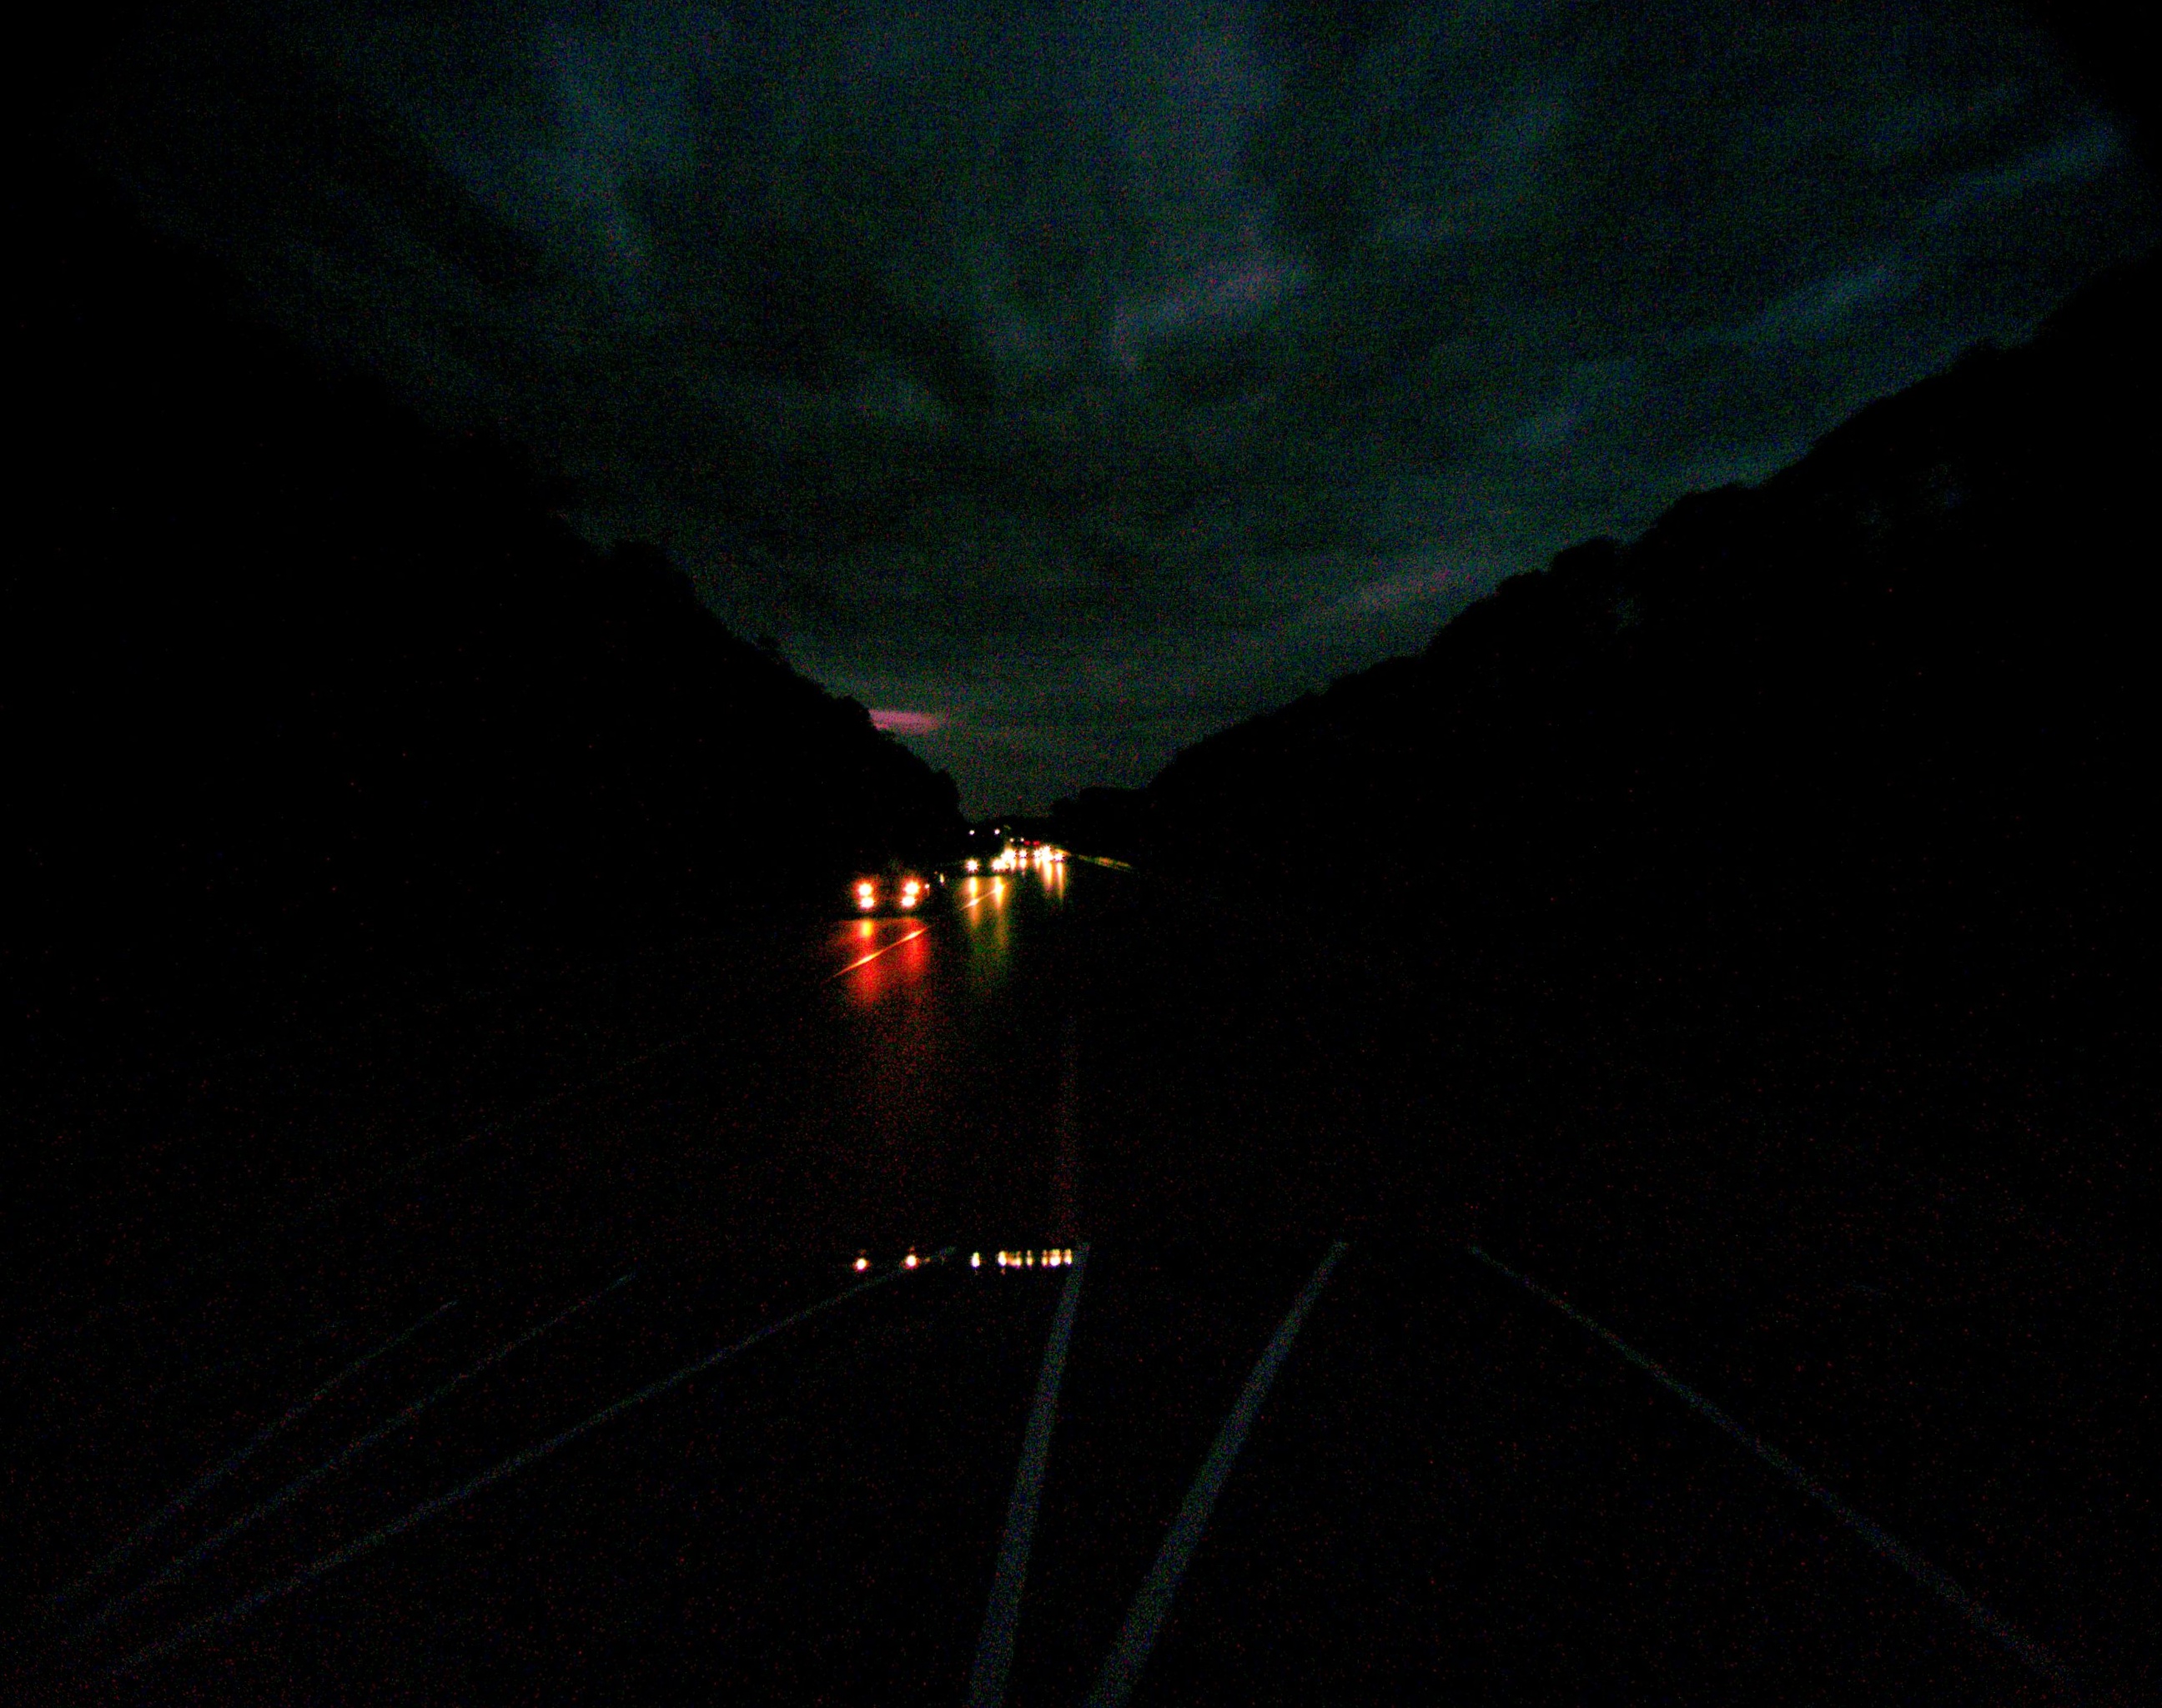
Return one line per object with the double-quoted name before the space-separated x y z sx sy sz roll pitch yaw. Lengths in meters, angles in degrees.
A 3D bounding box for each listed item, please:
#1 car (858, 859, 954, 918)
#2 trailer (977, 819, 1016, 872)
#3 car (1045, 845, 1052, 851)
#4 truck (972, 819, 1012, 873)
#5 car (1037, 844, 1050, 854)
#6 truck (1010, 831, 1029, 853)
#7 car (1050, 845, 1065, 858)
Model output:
"car" -5.171 0.959 23.141 1.696 1.481 4.949 -2 0 0
"trailer" -7.199 -0.859 65.954 2.490 4.050 13.497 -2 2 -3
"car" -8.568 -1.651 201.219 1.696 1.481 4.945 -1 1 -6
"truck" -6.877 -0.667 59.219 2.498 3.946 5.588 -2 2 -2
"car" -6.819 -0.969 138.295 1.924 1.706 4.939 -2 1 -6
"truck" -11.490 -2.302 142.163 3.342 3.945 13.527 -2 2 -5
"car" -3.052 -0.351 100.695 1.870 1.701 4.583 -2 1 -1
